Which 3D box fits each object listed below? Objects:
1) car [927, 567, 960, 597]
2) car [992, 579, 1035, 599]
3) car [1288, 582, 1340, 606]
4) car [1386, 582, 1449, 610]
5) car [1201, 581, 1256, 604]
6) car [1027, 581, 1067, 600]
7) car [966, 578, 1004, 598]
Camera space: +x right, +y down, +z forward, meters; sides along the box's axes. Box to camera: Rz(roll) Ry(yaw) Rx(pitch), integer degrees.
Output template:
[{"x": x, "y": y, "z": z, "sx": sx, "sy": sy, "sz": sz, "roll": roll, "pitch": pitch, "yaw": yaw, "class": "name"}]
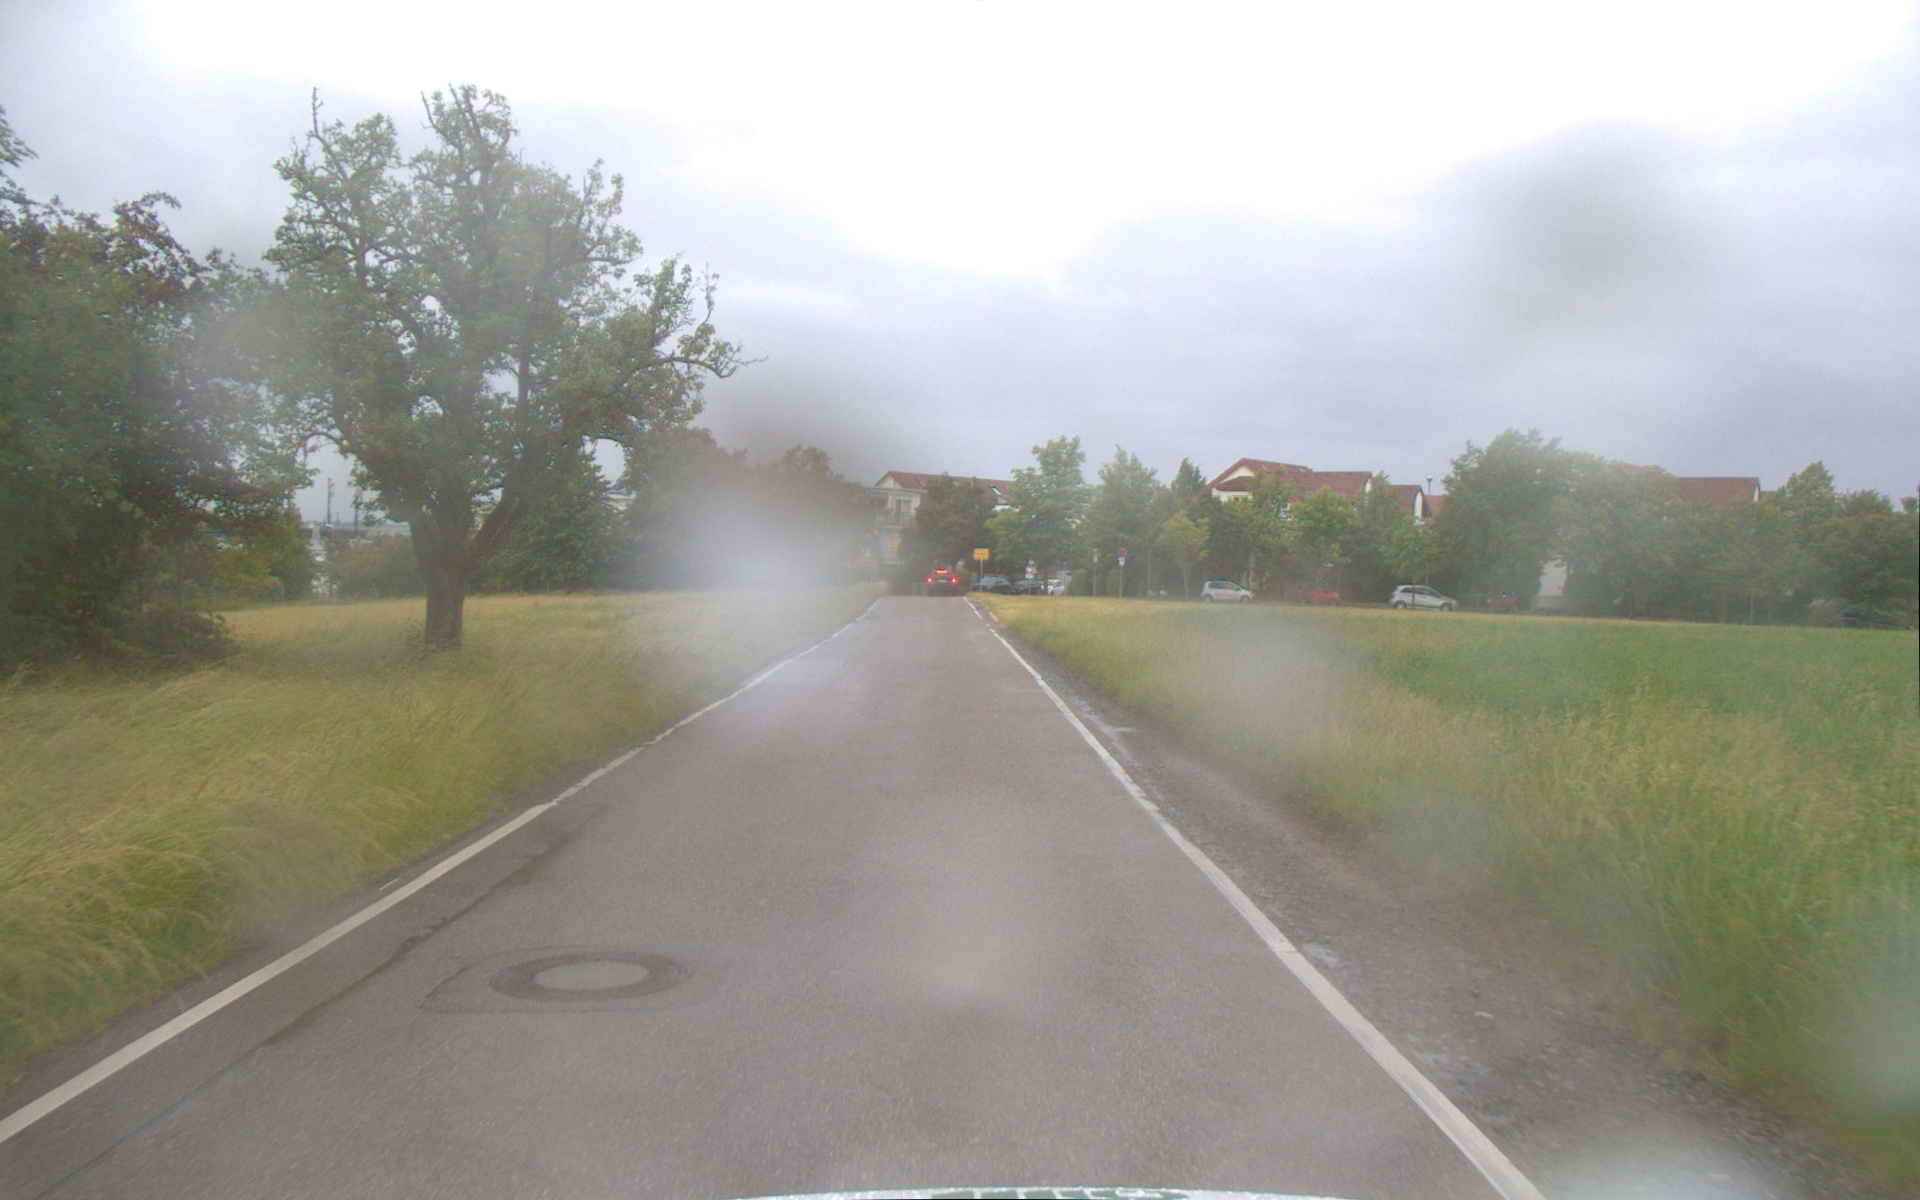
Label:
[{"x": -0.937, "y": -1.010, "z": 95.731, "sx": 1.777, "sy": 1.622, "sz": 4.000, "roll": 1, "pitch": 0, "yaw": 0, "class": "car"}, {"x": 4.481, "y": -0.882, "z": 137.814, "sx": 1.632, "sy": 1.573, "sz": 3.986, "roll": 1, "pitch": 0, "yaw": 34, "class": "car"}, {"x": 22.082, "y": -0.358, "z": 103.146, "sx": 3.124, "sy": 1.394, "sz": 1.573, "roll": 1, "pitch": 0, "yaw": 12, "class": "car"}, {"x": 28.094, "y": -0.228, "z": 101.602, "sx": 3.630, "sy": 1.591, "sz": 1.612, "roll": 1, "pitch": 0, "yaw": 12, "class": "car"}, {"x": 16.932, "y": -0.484, "z": 104.422, "sx": 3.317, "sy": 1.394, "sz": 1.549, "roll": 1, "pitch": 0, "yaw": 12, "class": "car"}, {"x": 7.486, "y": -0.800, "z": 142.066, "sx": 1.632, "sy": 1.573, "sz": 3.986, "roll": 1, "pitch": 0, "yaw": 34, "class": "car"}, {"x": 2.018, "y": -0.951, "z": 133.211, "sx": 1.627, "sy": 1.573, "sz": 3.998, "roll": 1, "pitch": 0, "yaw": 23, "class": "car"}]
